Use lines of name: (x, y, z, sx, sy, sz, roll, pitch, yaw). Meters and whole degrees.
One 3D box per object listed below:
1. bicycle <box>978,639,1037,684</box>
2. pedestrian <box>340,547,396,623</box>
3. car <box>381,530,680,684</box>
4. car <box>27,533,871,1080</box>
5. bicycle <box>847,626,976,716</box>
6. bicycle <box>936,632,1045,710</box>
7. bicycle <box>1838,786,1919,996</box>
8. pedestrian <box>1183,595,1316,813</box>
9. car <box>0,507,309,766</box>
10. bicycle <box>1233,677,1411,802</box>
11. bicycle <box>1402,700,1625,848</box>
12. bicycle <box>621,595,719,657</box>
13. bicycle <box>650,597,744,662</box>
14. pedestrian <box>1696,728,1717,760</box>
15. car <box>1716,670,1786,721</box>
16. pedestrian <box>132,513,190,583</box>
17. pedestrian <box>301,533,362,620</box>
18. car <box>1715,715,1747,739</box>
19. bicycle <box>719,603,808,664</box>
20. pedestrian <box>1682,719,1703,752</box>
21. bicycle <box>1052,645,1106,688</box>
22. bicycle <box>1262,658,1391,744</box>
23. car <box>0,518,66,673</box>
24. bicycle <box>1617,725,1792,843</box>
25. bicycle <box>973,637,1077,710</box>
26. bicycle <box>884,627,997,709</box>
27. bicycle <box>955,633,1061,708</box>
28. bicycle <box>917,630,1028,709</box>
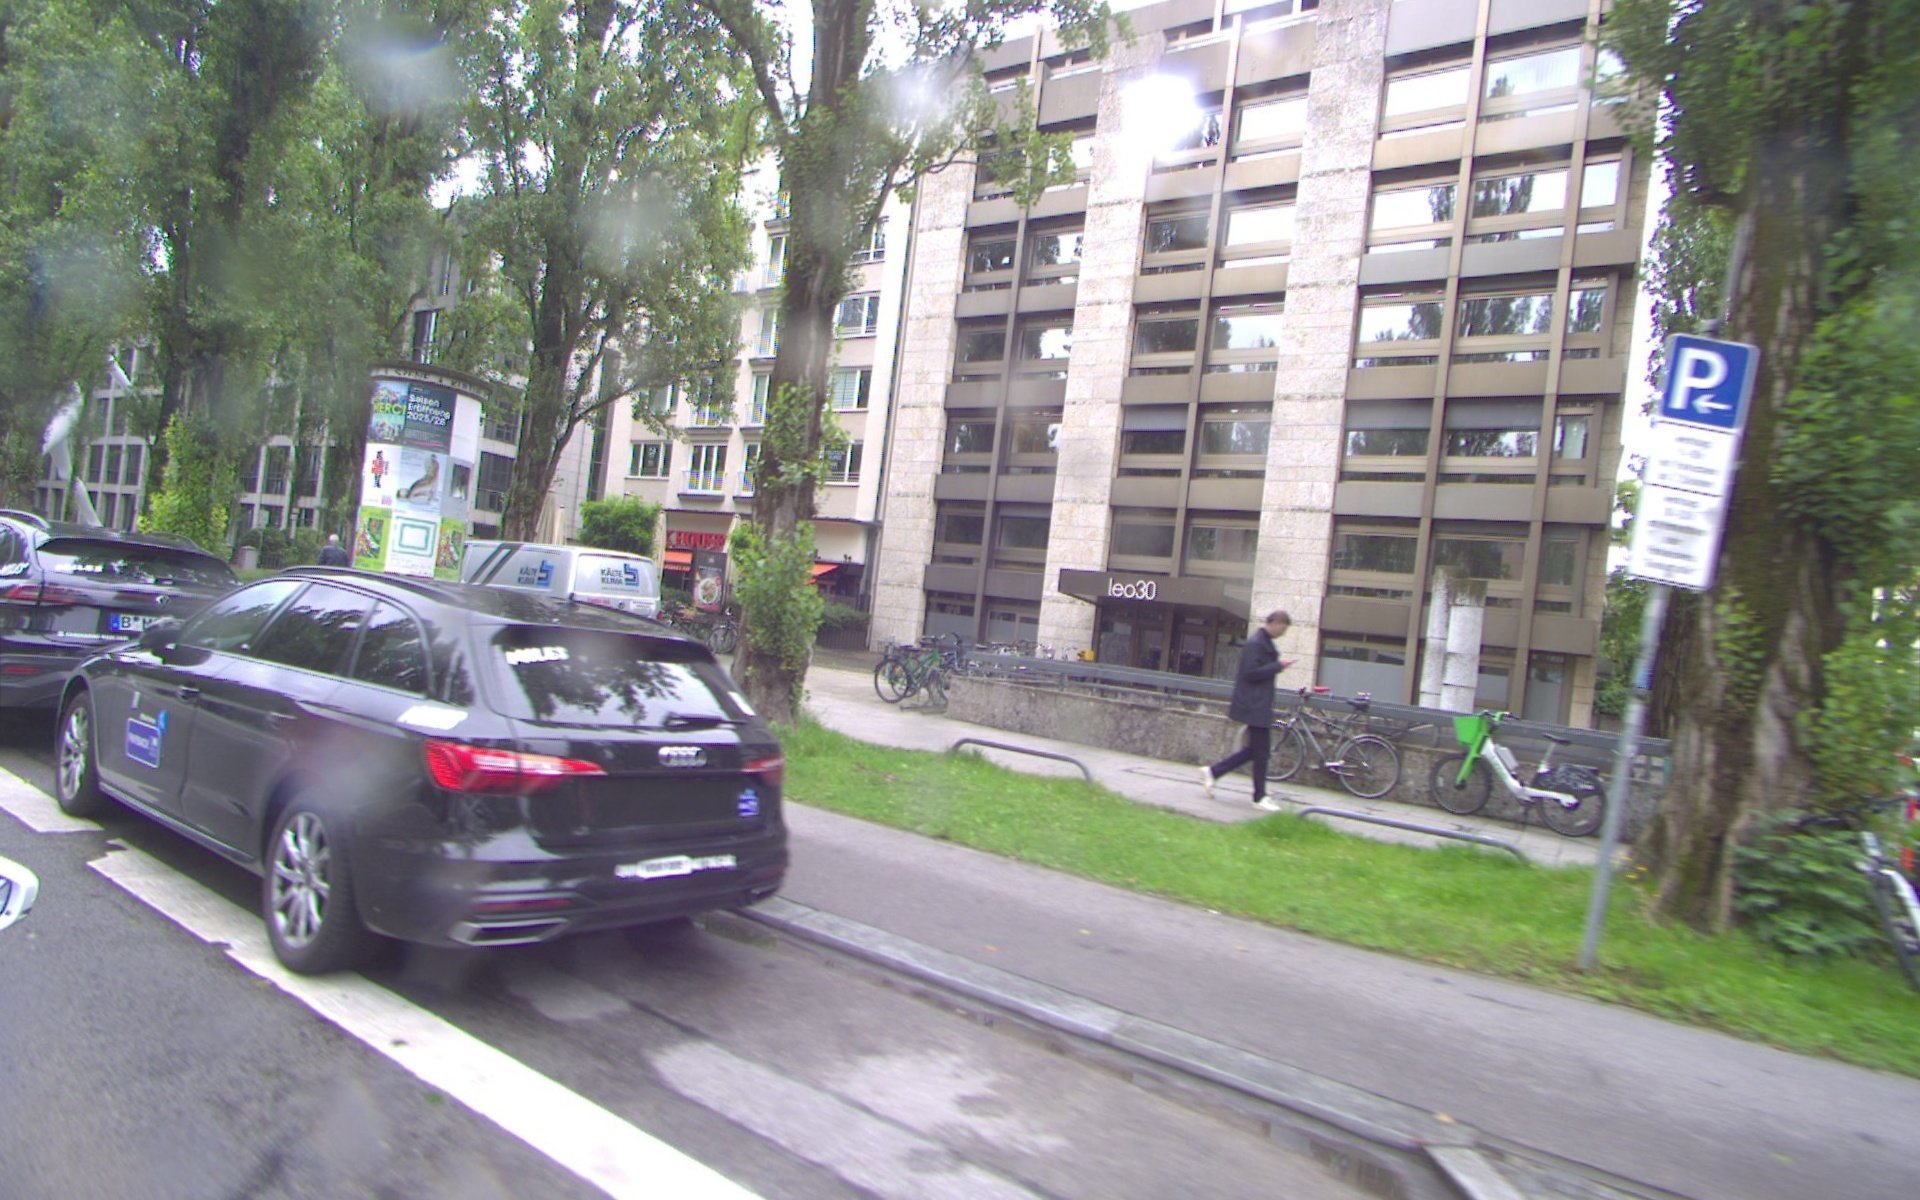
bicycle: (1.430, 1.848, 29.910, 0.637, 1.169, 2.242, 6, -2, 32)
pedestrian: (-13.542, -0.345, 23.001, 0.821, 1.625, 0.696, 6, -1, 38)
car: (-7.045, 0.055, 16.273, 5.120, 1.918, 1.811, 6, -2, 34)
car: (-2.736, 0.615, 4.931, 4.379, 1.443, 1.753, 5, -3, 36)
bicycle: (-0.786, 1.102, 15.812, 1.953, 1.173, 0.586, 6, -1, 34)
bicycle: (0.540, 1.273, 18.236, 1.839, 1.173, 0.586, 6, -1, 34)
bicycle: (5.045, 1.487, 5.279, 0.465, 0.827, 1.827, 6, -1, 37)
pedestrian: (2.840, 0.993, 9.852, 0.891, 1.951, 0.714, 6, -1, 34)
car: (-6.925, 0.163, 7.724, 3.846, 1.544, 1.746, 5, -3, 34)
bicycle: (4.259, 1.610, 11.870, 1.836, 1.173, 0.587, 6, -1, 25)
bicycle: (5.697, 1.748, 10.435, 0.584, 1.173, 1.846, 7, -1, -45)
bicycle: (-6.149, 0.573, 21.466, 0.578, 1.174, 2.026, 5, 0, 34)
bicycle: (-5.495, 0.633, 21.139, 0.578, 1.173, 1.865, 6, -2, 34)
pedestrian: (38.945, 7.526, 52.484, 0.635, 1.554, 0.709, 6, -3, 29)
car: (43.582, 5.283, 55.540, 2.054, 2.460, 5.604, 5, -3, 30)
pedestrian: (-22.099, -1.434, 27.823, 0.847, 1.773, 0.909, 6, -1, 34)
pedestrian: (-13.973, -0.525, 22.356, 0.830, 1.824, 0.748, 6, -1, 38)
car: (92.350, 15.137, 120.591, 2.054, 2.461, 5.604, 6, -2, 30)
bicycle: (-4.513, 0.773, 23.089, 1.834, 1.173, 0.588, 7, -1, 19)
pedestrian: (36.505, 6.742, 50.143, 0.534, 1.548, 0.531, 6, -1, 9)
bicycle: (3.689, 2.049, 30.931, 0.637, 1.169, 2.242, 6, -2, 32)
bicycle: (6.140, 1.675, 16.906, 1.839, 1.173, 0.586, 6, -1, 34)
car: (-11.677, -0.272, 10.861, 4.164, 1.544, 1.747, 6, -3, 31)
bicycle: (10.428, 2.546, 14.184, 1.839, 1.292, 0.720, 6, -1, 34)
bicycle: (1.231, 1.393, 19.264, 1.839, 1.173, 0.586, 6, -1, 34)
bicycle: (-0.349, 1.164, 17.337, 1.839, 1.173, 0.586, 6, -1, 34)
bicycle: (0.881, 1.309, 18.753, 1.839, 1.173, 0.586, 6, -1, 34)
bicycle: (0.205, 1.214, 17.724, 1.839, 1.173, 0.586, 6, -1, 34)
